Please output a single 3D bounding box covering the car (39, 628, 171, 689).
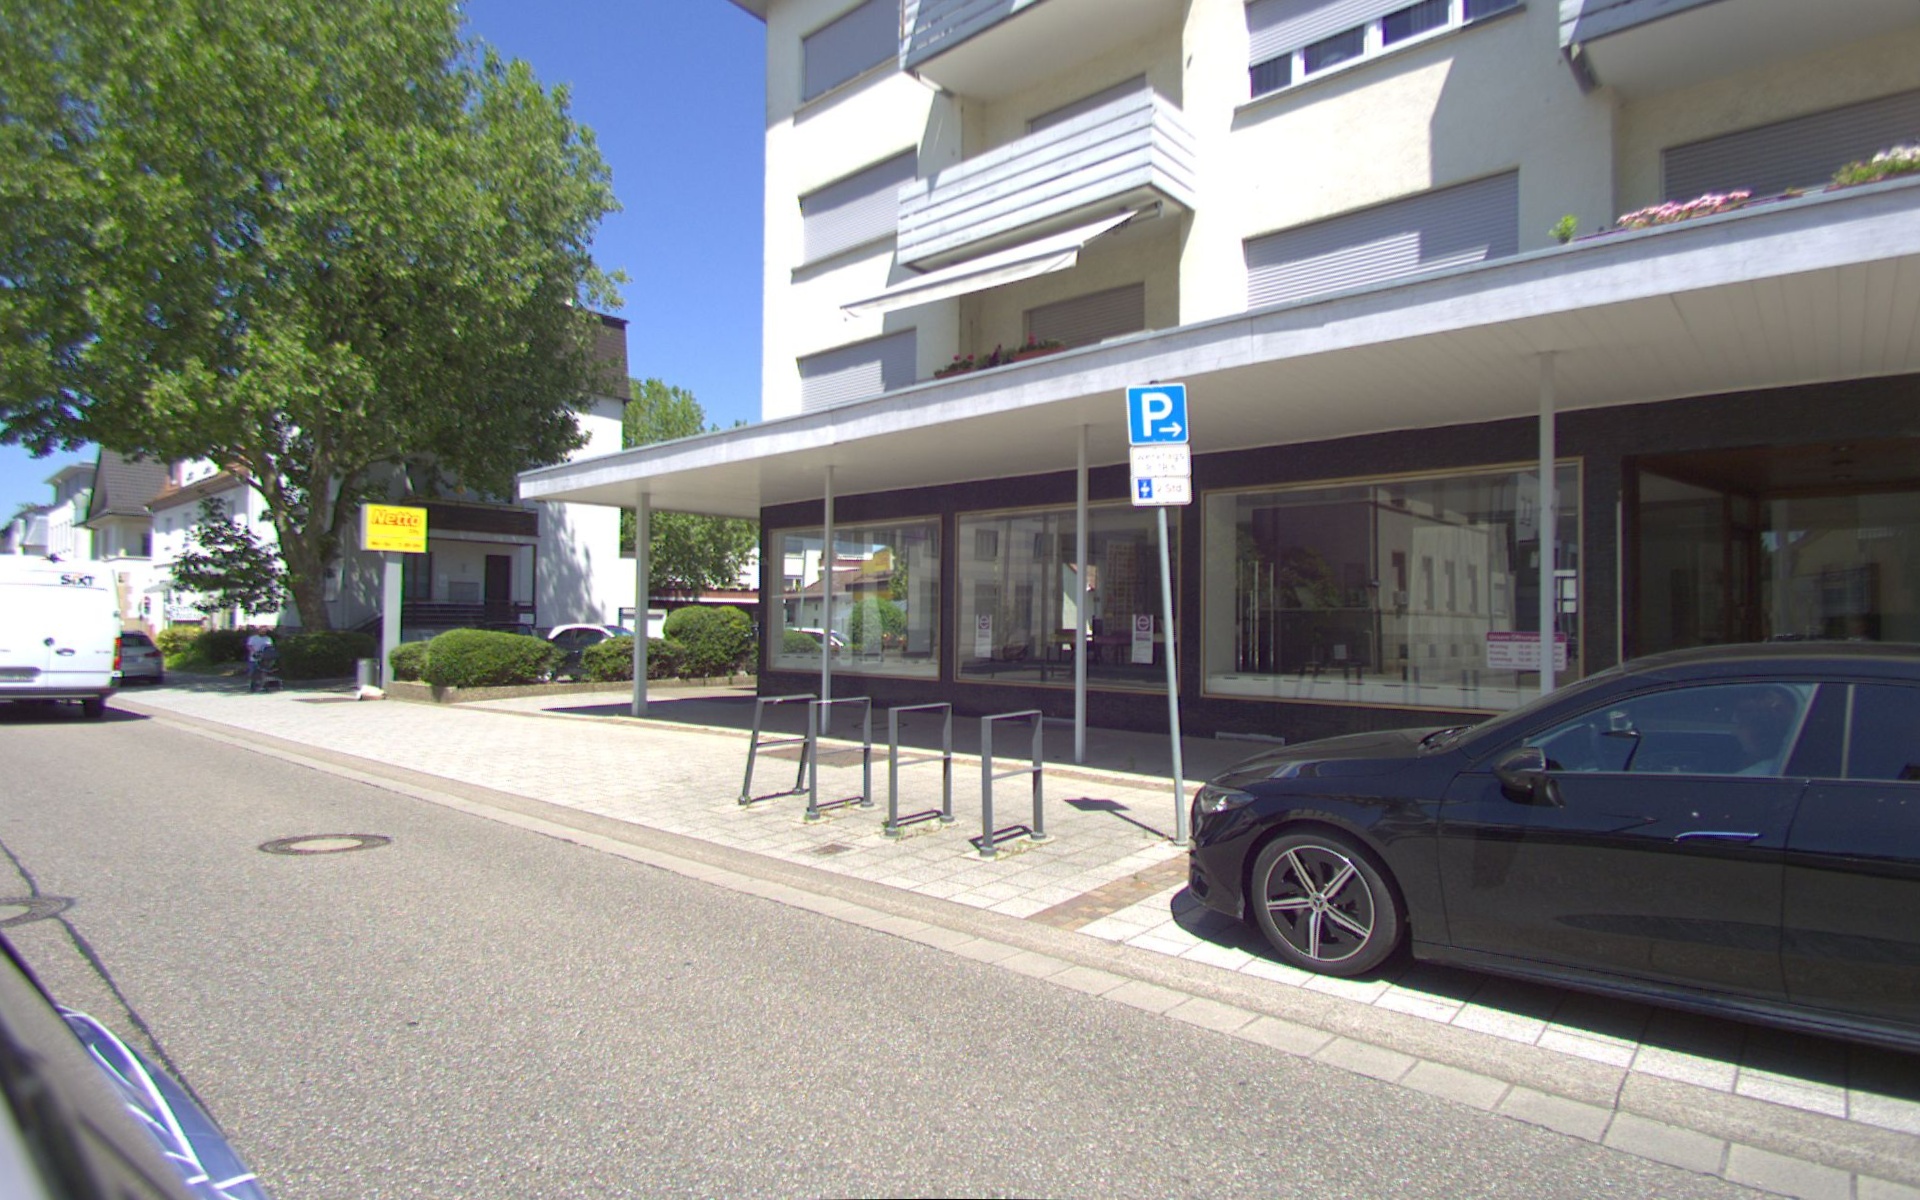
[{"bbox_3d":[-23.075,1.513,27.234,5.147,1.463,1.960,-2,-1,41],"label":"car"}]

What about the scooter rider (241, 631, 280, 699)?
[{"bbox_3d":[-17.002,1.560,24.602,0.877,1.587,0.582,-2,0,43],"label":"scooter rider"}]

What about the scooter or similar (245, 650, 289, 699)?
[{"bbox_3d":[-16.535,1.759,24.148,1.028,1.106,0.656,-2,-1,43],"label":"scooter or similar"}]

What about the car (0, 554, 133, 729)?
[{"bbox_3d":[-16.935,0.737,18.069,7.102,2.650,2.015,-2,-4,40],"label":"car"}]

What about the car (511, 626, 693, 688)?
[{"bbox_3d":[-9.006,1.406,25.598,3.953,1.498,1.890,0,-2,11],"label":"car"}]

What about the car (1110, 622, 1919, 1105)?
[{"bbox_3d":[3.269,0.840,4.105,5.045,1.428,1.876,-2,0,41],"label":"car"}]

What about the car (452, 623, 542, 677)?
[{"bbox_3d":[-14.613,1.537,31.828,1.782,1.557,4.115,2,-2,-35],"label":"car"}]

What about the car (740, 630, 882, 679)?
[{"bbox_3d":[-4.595,1.684,31.384,4.000,1.445,1.767,-1,-3,16],"label":"car"}]
